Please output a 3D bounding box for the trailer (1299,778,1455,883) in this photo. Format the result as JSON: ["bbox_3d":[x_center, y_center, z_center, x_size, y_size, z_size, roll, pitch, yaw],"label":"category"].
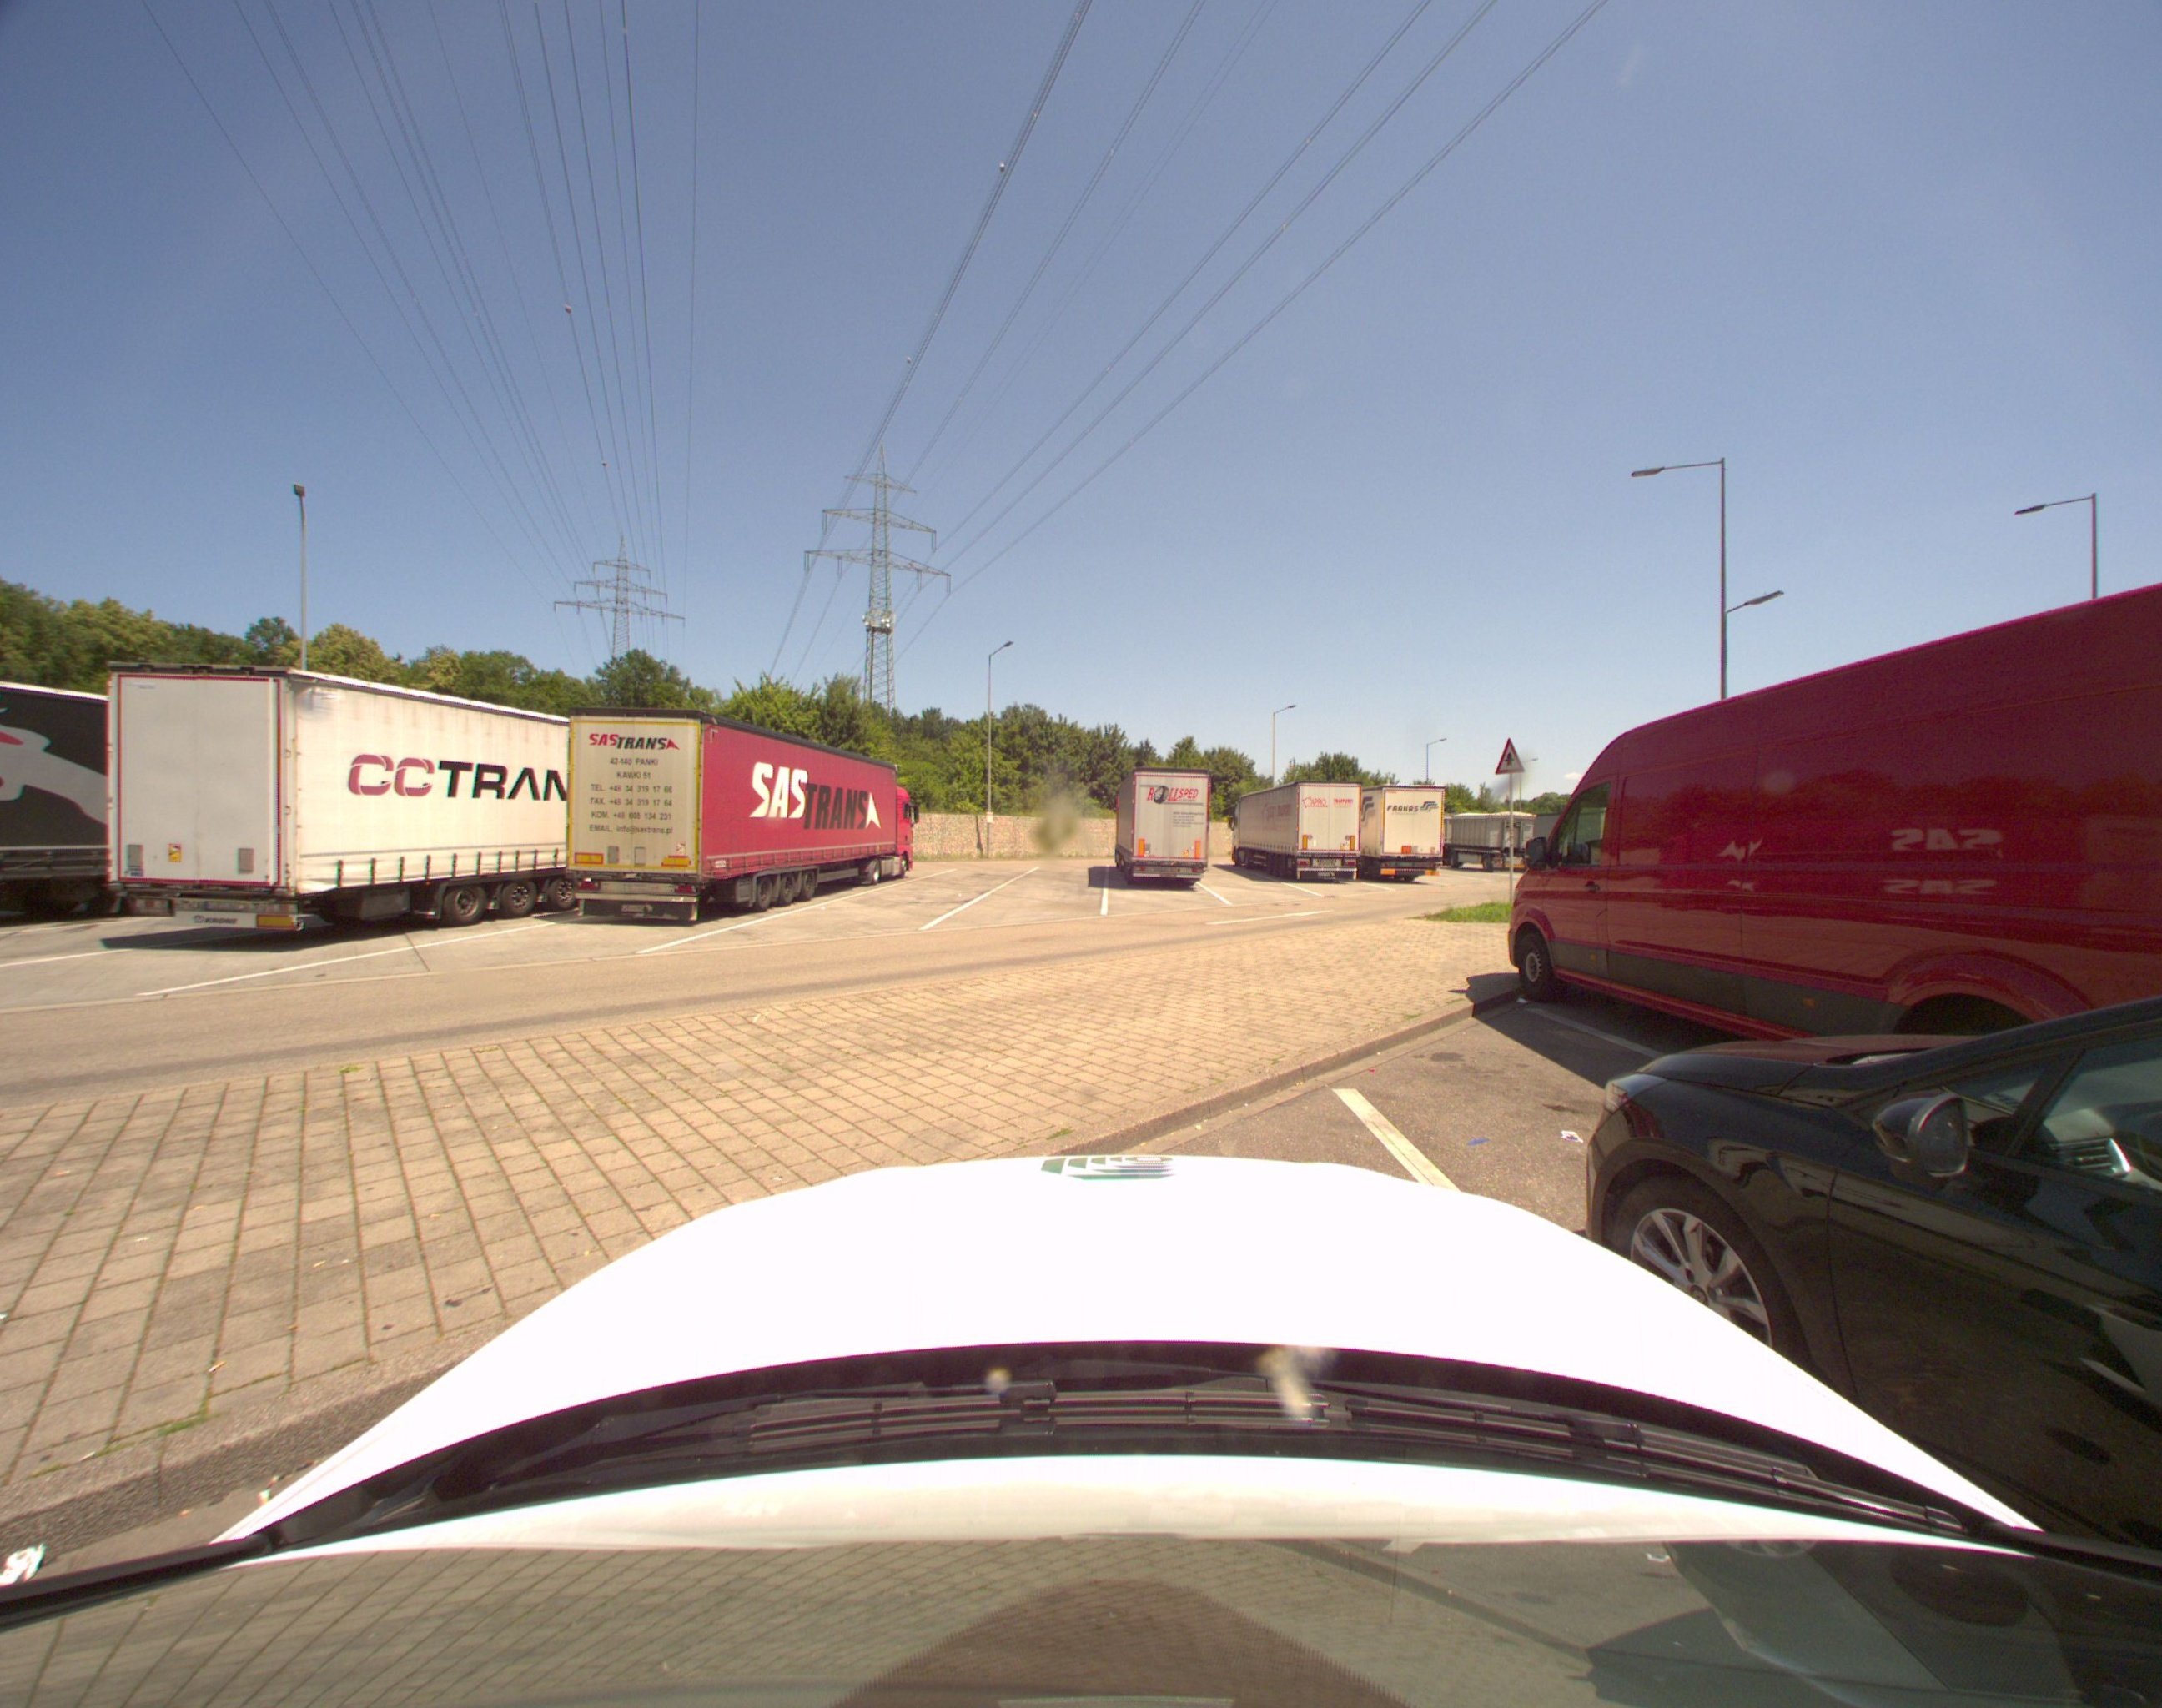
[{"bbox_3d":[13.611,-1.123,39.271,2.828,4.132,13.730,1,2,2],"label":"trailer"}]

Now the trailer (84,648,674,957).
[{"bbox_3d":[-12.208,-0.887,16.317,2.718,4.209,10.175,1,2,2],"label":"trailer"}]

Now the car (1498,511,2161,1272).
[{"bbox_3d":[5.156,0.084,5.476,2.055,2.695,6.405,-1,1,6],"label":"car"}]

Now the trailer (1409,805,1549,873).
[{"bbox_3d":[24.533,-1.005,51.436,2.826,3.717,13.737,1,2,3],"label":"trailer"}]

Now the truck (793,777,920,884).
[{"bbox_3d":[-7.802,-0.834,29.082,2.841,3.427,5.486,1,1,2],"label":"truck"}]

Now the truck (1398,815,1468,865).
[{"bbox_3d":[24.923,-1.014,57.935,2.840,3.364,5.488,1,1,3],"label":"truck"}]

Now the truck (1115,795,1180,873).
[{"bbox_3d":[3.168,-0.989,39.895,2.841,3.483,5.486,1,1,2],"label":"truck"}]

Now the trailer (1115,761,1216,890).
[{"bbox_3d":[3.023,-1.103,33.283,2.896,4.132,13.727,1,2,1],"label":"trailer"}]

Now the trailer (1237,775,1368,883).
[{"bbox_3d":[9.955,-1.156,38.609,2.828,4.132,13.730,1,2,2],"label":"trailer"}]

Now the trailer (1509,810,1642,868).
[{"bbox_3d":[38.378,-1.243,64.118,2.826,4.049,13.737,1,2,3],"label":"trailer"}]

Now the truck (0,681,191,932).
[{"bbox_3d":[-18.584,-0.798,13.554,2.692,4.016,4.326,1,2,2],"label":"truck"}]

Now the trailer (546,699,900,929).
[{"bbox_3d":[-8.042,-0.952,21.645,2.896,4.131,13.731,1,2,2],"label":"trailer"}]

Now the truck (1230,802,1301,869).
[{"bbox_3d":[10.164,-1.030,45.419,2.841,3.483,5.486,1,1,2],"label":"truck"}]

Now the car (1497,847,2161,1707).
[{"bbox_3d":[2.512,0.752,1.166,1.733,1.482,3.813,-1,1,-3],"label":"car"}]
